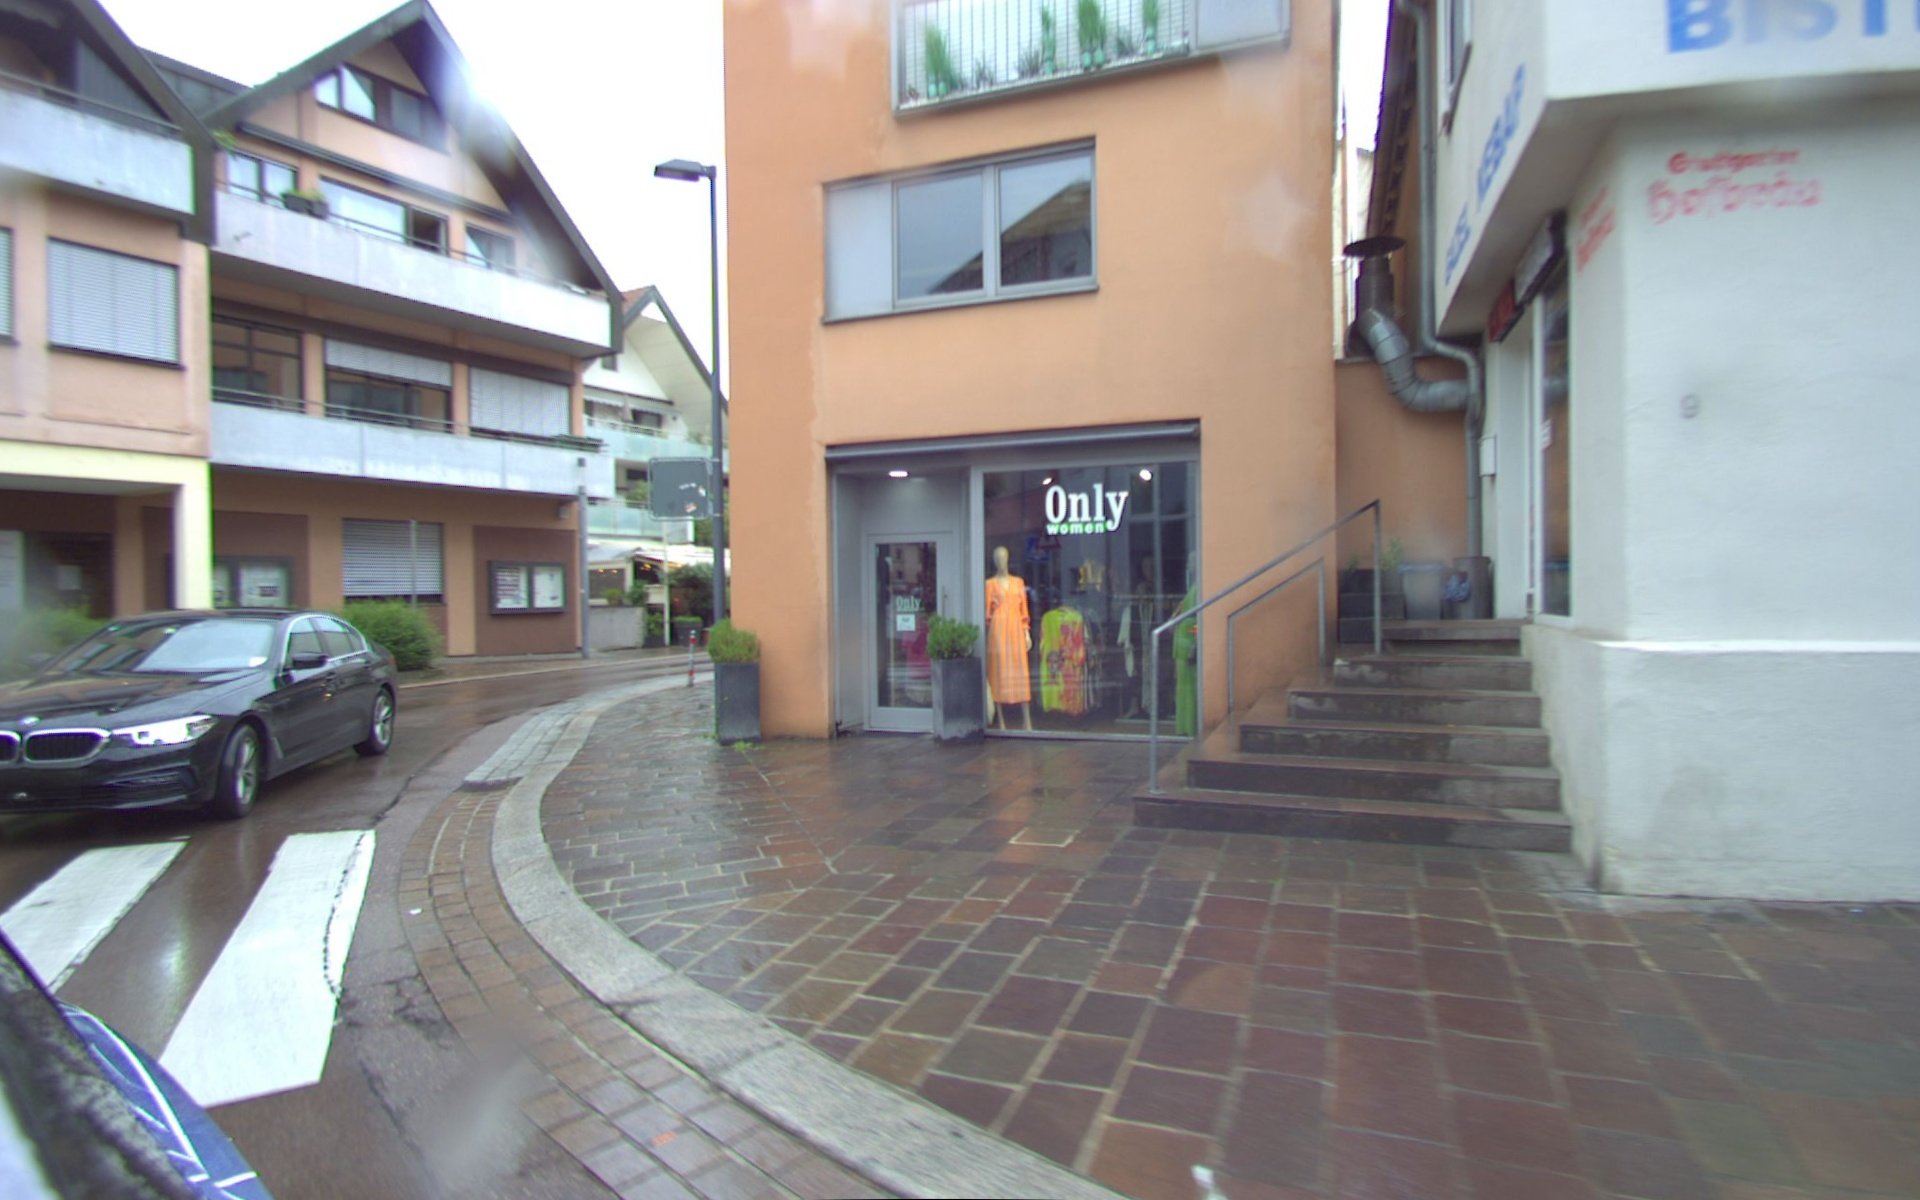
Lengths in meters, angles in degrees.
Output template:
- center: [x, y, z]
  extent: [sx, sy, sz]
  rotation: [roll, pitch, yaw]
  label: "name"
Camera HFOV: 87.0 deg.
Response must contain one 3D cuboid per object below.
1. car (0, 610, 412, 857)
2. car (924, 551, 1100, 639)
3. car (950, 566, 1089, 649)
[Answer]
- center: [-6.214, 0.821, 8.177]
  extent: [1.916, 1.413, 4.430]
  rotation: [1, 0, -11]
  label: "car"
- center: [2.185, -0.142, 37.544]
  extent: [2.702, 2.896, 8.750]
  rotation: [-1, -1, 31]
  label: "car"
- center: [1.948, 0.175, 30.527]
  extent: [1.990, 2.256, 5.806]
  rotation: [-1, 0, 28]
  label: "car"
